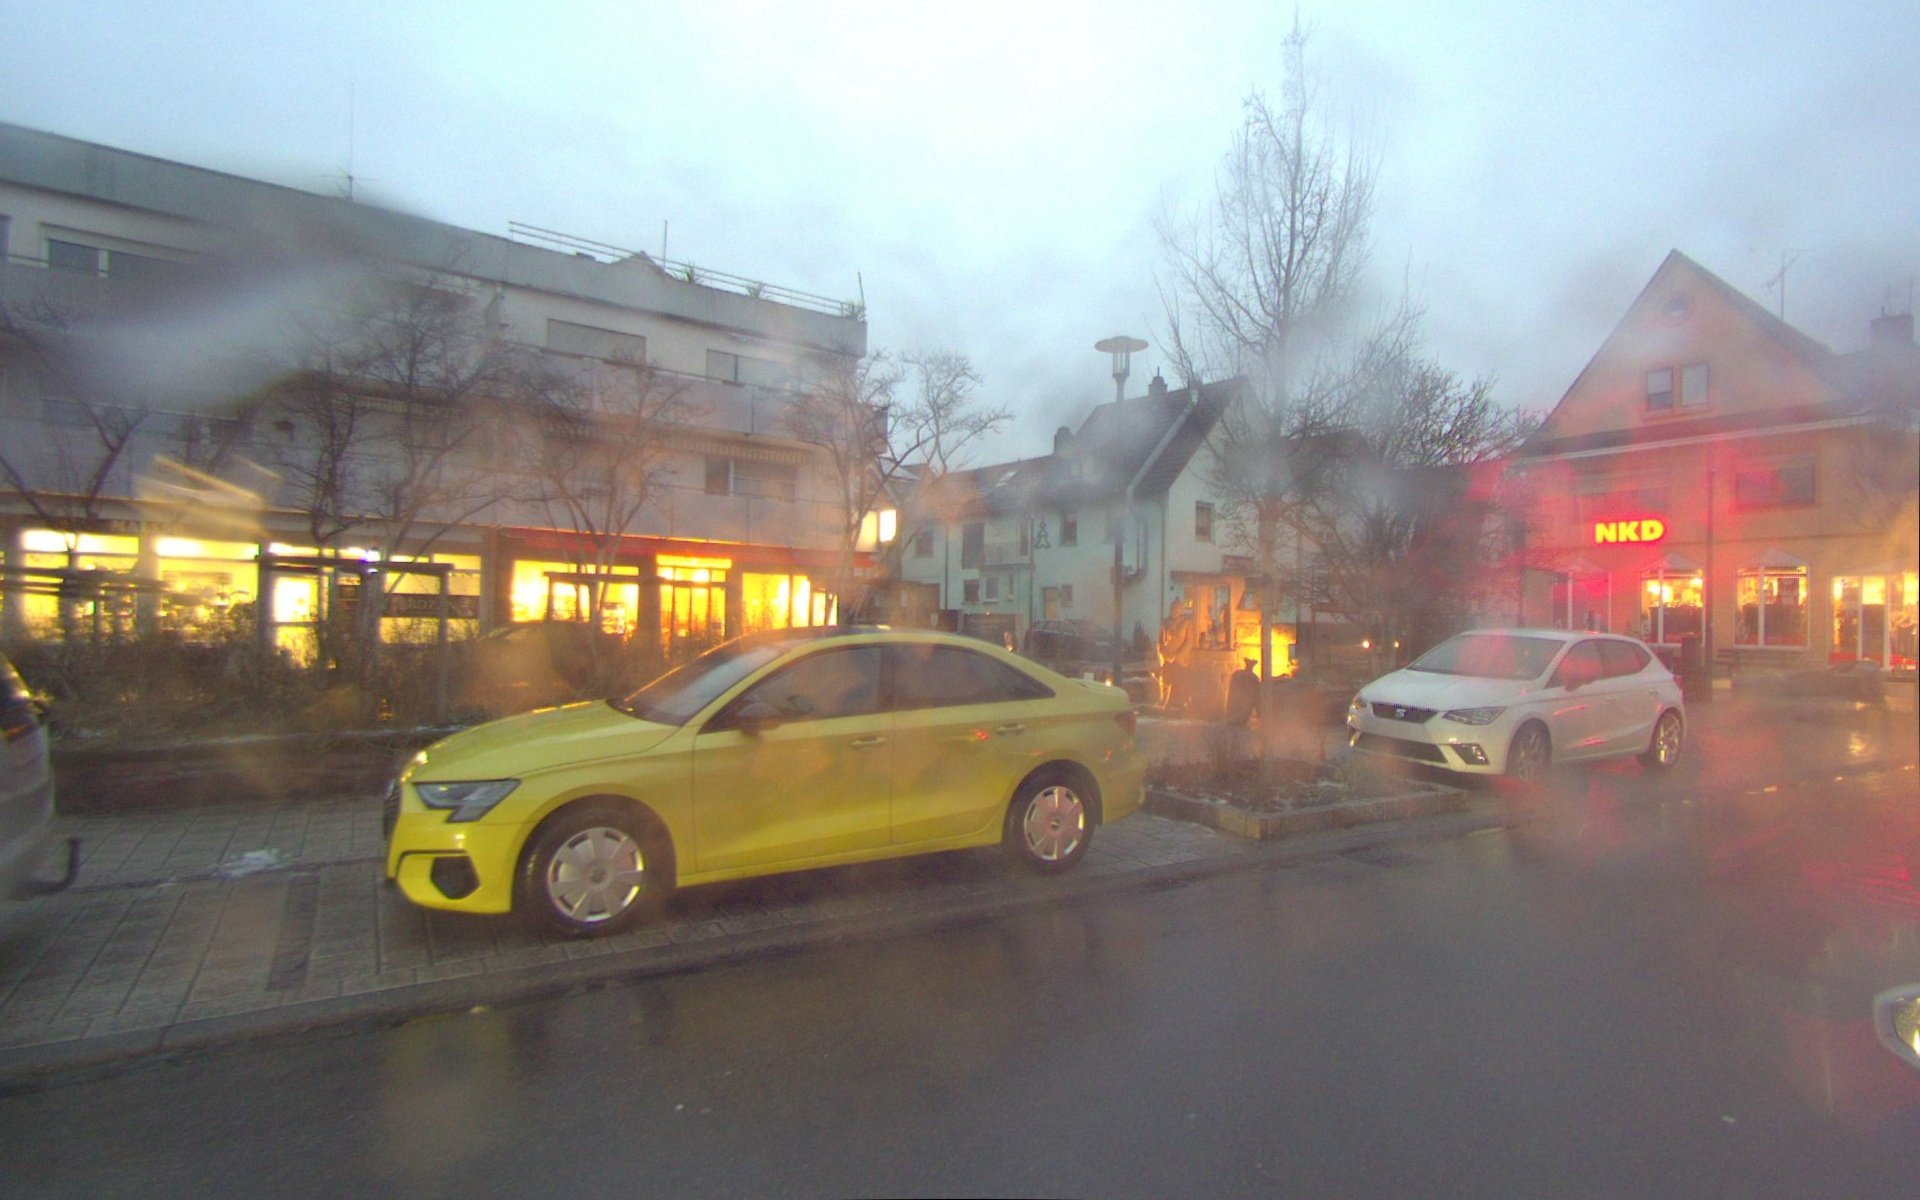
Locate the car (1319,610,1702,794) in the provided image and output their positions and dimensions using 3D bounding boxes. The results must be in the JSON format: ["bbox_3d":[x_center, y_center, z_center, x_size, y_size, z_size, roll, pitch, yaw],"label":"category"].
[{"bbox_3d":[5.742,0.935,10.387,3.953,1.536,1.661,1,1,-30],"label":"car"}]

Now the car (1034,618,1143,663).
[{"bbox_3d":[4.705,1.461,36.999,1.604,1.539,3.854,2,-1,-43],"label":"car"}]

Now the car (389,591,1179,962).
[{"bbox_3d":[-0.922,0.783,6.031,4.289,1.536,1.741,2,1,-29],"label":"car"}]

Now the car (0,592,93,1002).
[{"bbox_3d":[-5.610,0.706,3.459,3.733,1.536,1.682,1,0,-33],"label":"car"}]

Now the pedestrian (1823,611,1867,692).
[{"bbox_3d":[19.753,1.135,22.425,0.677,1.765,0.584,1,-1,-34],"label":"pedestrian"}]
